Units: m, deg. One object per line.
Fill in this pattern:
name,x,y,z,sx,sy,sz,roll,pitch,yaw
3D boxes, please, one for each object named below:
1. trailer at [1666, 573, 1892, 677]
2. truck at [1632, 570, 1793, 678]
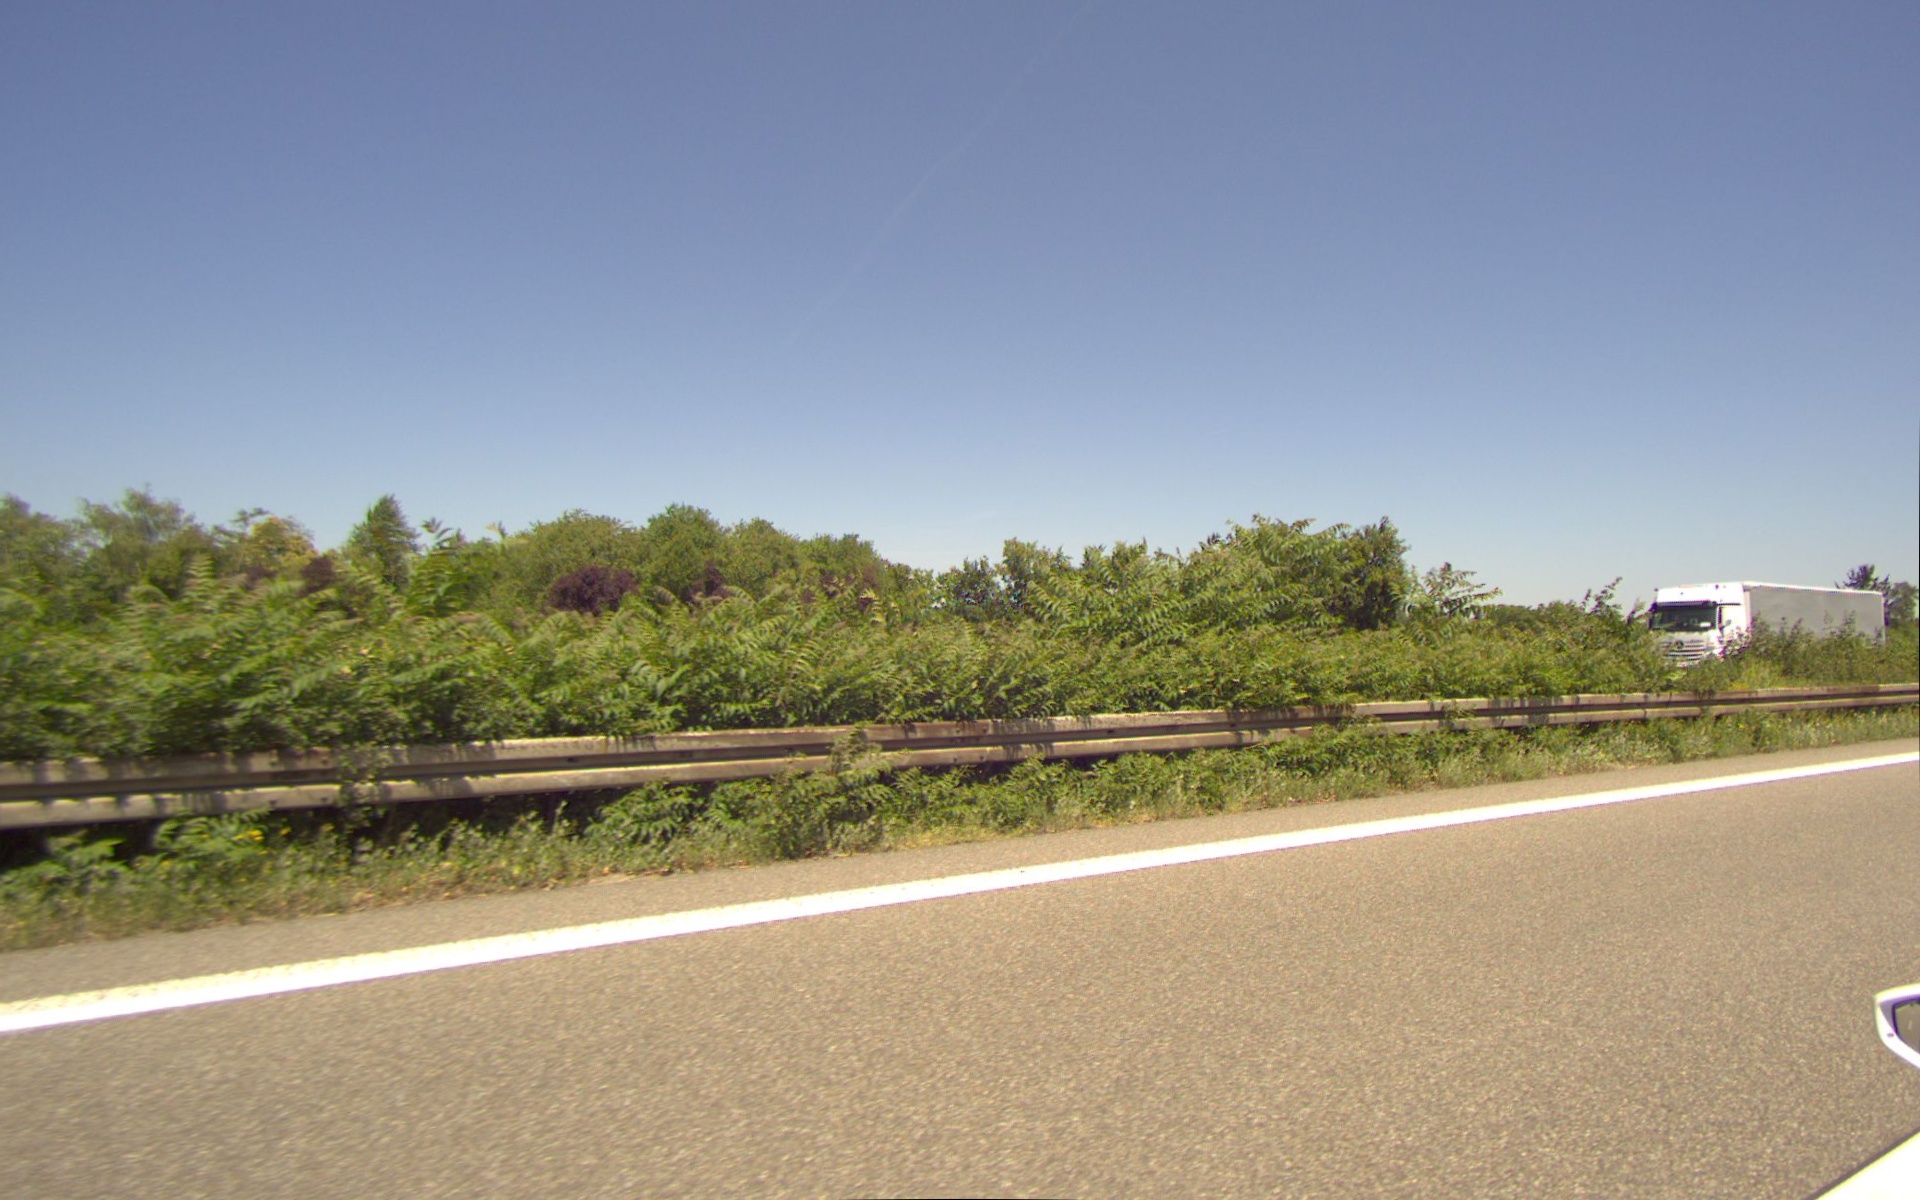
trailer,36.525,1.168,44.473,14.157,4.112,2.940,2,0,-30
truck,30.859,0.982,41.132,6.462,4.117,2.937,2,0,-30
